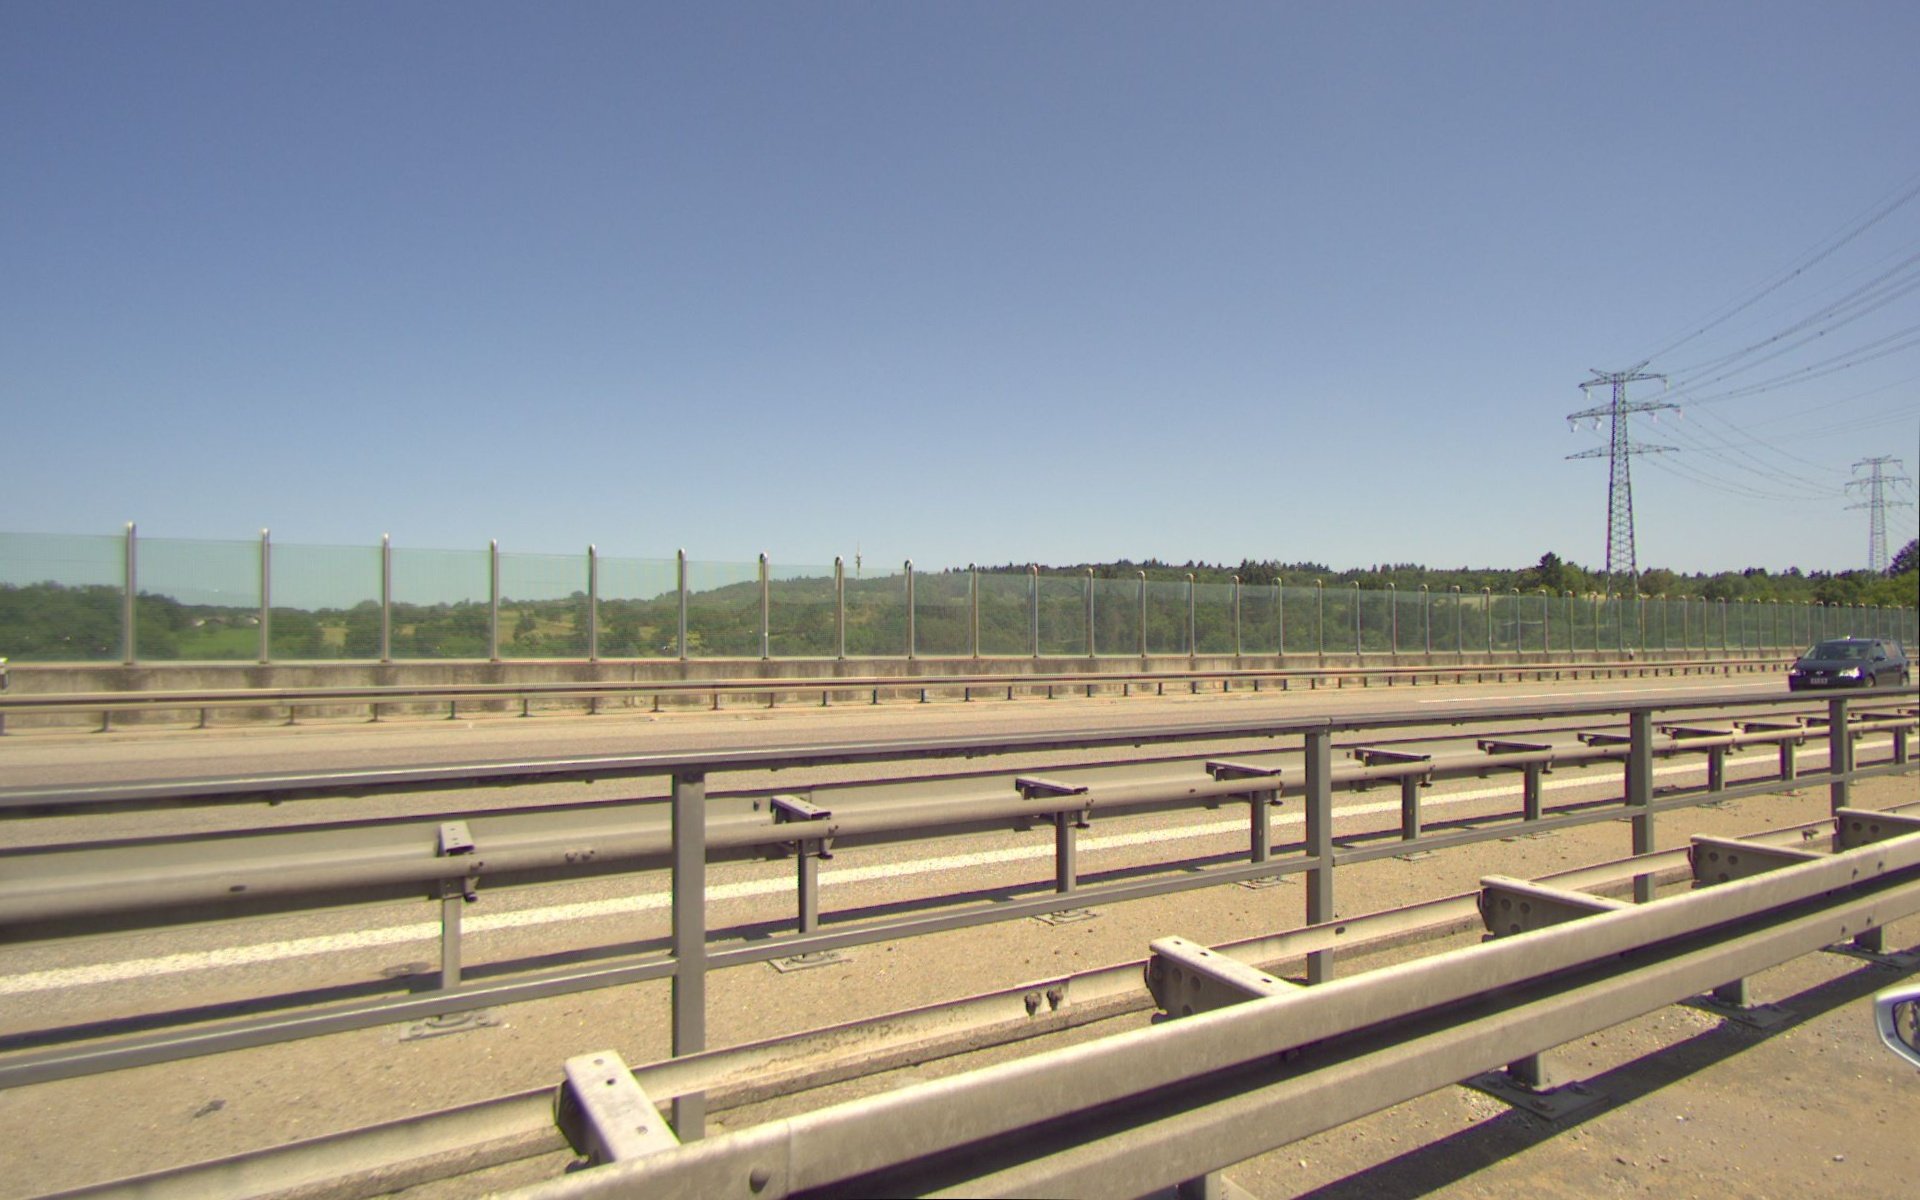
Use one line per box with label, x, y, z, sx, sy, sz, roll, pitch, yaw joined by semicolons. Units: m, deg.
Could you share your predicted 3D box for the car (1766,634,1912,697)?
car;25.141;1.838;28.708;4.139;1.694;1.984;2;-3;-32
